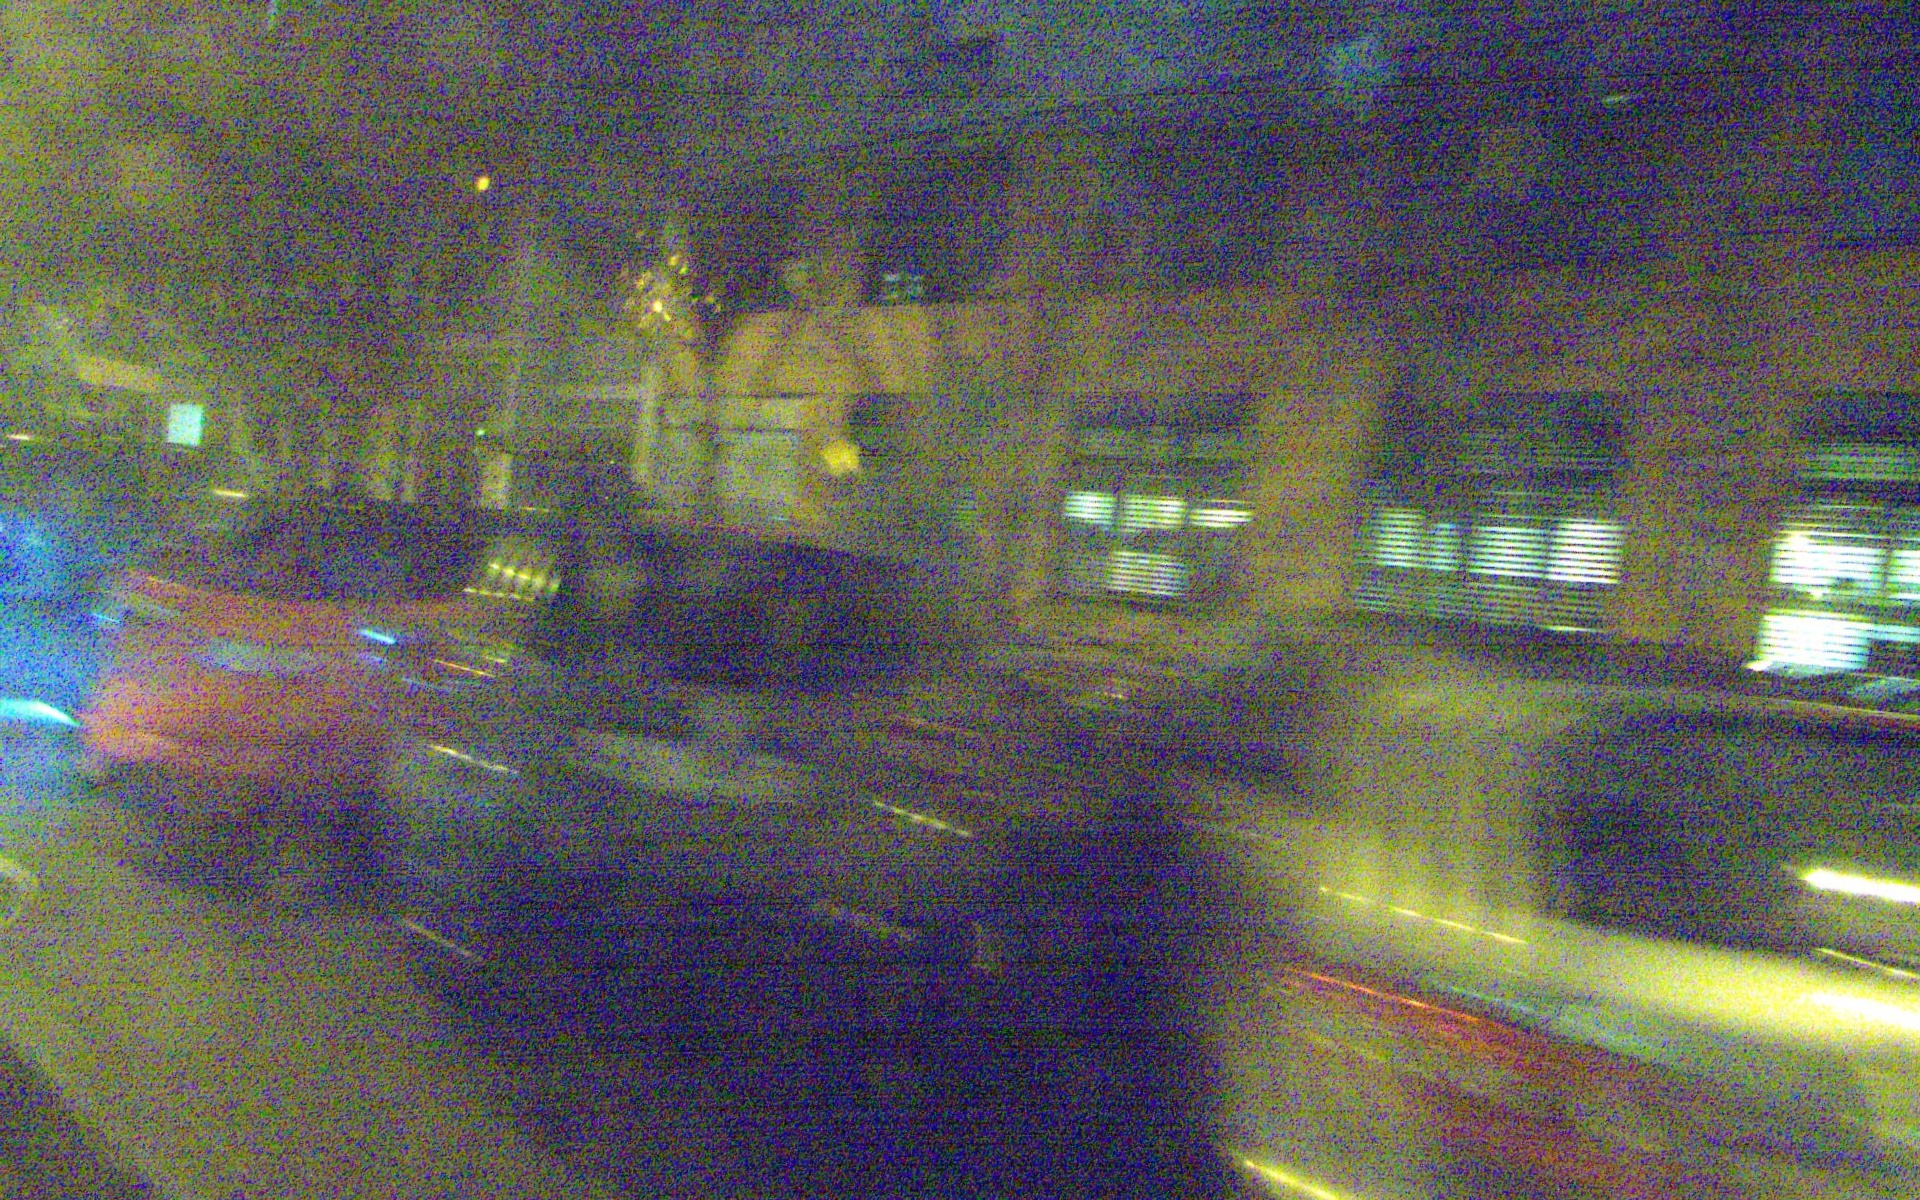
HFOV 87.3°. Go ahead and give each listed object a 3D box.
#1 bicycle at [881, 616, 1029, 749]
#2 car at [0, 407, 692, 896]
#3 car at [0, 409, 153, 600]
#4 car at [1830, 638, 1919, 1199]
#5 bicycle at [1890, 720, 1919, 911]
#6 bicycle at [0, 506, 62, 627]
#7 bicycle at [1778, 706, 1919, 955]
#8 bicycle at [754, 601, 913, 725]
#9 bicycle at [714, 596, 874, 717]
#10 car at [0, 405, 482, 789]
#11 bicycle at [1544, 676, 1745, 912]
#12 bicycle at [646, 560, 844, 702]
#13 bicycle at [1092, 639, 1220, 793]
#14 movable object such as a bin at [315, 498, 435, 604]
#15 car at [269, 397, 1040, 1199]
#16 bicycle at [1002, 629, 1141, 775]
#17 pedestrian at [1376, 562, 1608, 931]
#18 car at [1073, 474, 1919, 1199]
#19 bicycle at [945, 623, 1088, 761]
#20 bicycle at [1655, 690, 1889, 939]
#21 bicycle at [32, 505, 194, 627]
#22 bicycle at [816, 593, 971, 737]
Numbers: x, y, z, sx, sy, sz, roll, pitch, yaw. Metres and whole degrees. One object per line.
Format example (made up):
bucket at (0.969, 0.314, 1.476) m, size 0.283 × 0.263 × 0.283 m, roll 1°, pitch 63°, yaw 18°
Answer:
bicycle at (0.009, 0.714, 9.472) m, size 0.500 × 1.069 × 1.974 m, roll 7°, pitch 2°, yaw 25°
car at (-2.994, 0.258, 5.941) m, size 1.686 × 1.748 × 3.775 m, roll 8°, pitch -1°, yaw -1°
car at (-12.436, -1.236, 11.972) m, size 1.912 × 2.276 × 4.721 m, roll 6°, pitch 0°, yaw -4°
car at (3.767, 1.062, 1.240) m, size 1.824 × 1.785 × 4.110 m, roll 8°, pitch -1°, yaw 4°
bicycle at (6.060, 1.375, 5.715) m, size 0.477 × 1.162 × 1.687 m, roll 7°, pitch 3°, yaw 23°
bicycle at (-10.498, -0.428, 10.693) m, size 1.830 × 1.186 × 0.586 m, roll 8°, pitch 0°, yaw 22°
bicycle at (5.570, 1.315, 5.973) m, size 0.532 × 1.162 × 1.687 m, roll 7°, pitch 3°, yaw 23°
bicycle at (-1.189, 0.579, 9.956) m, size 0.500 × 1.069 × 1.974 m, roll 7°, pitch 2°, yaw 25°
bicycle at (-1.638, 0.541, 10.277) m, size 0.500 × 1.069 × 1.974 m, roll 7°, pitch 2°, yaw 25°
car at (-5.216, -0.116, 7.148) m, size 1.686 × 1.883 × 4.242 m, roll 6°, pitch 1°, yaw -3°
bicycle at (4.410, 1.174, 6.618) m, size 0.653 × 1.162 × 1.687 m, roll 7°, pitch 3°, yaw 23°
bicycle at (-2.283, 0.337, 10.898) m, size 0.770 × 1.353 × 1.969 m, roll 8°, pitch 3°, yaw 38°
bicycle at (1.718, 0.915, 8.570) m, size 0.500 × 1.069 × 1.974 m, roll 7°, pitch 2°, yaw 25°
movable object such as a bin at (-8.786, -0.717, 15.120) m, size 0.982 × 1.471 × 1.208 m, roll 7°, pitch 4°, yaw 32°
car at (-0.638, 0.532, 4.348) m, size 1.709 × 1.749 × 3.805 m, roll 8°, pitch -1°, yaw 4°
bicycle at (1.033, 0.829, 8.854) m, size 0.500 × 1.069 × 1.974 m, roll 7°, pitch 2°, yaw 25°
pedestrian at (3.011, 0.750, 5.756) m, size 0.931 × 1.862 × 0.838 m, roll 6°, pitch 5°, yaw 28°
car at (1.527, 0.835, 3.310) m, size 1.810 × 1.629 × 4.065 m, roll 8°, pitch -1°, yaw 2°
bicycle at (0.571, 0.775, 9.183) m, size 0.500 × 1.069 × 1.974 m, roll 7°, pitch 2°, yaw 25°
bicycle at (5.021, 1.251, 6.354) m, size 0.586 × 1.162 × 1.687 m, roll 7°, pitch 3°, yaw 23°
bicycle at (-10.009, -0.404, 11.875) m, size 1.830 × 1.186 × 0.586 m, roll 8°, pitch 0°, yaw 22°
bicycle at (-0.586, 0.584, 9.714) m, size 0.500 × 1.207 × 1.974 m, roll 7°, pitch 2°, yaw 25°
